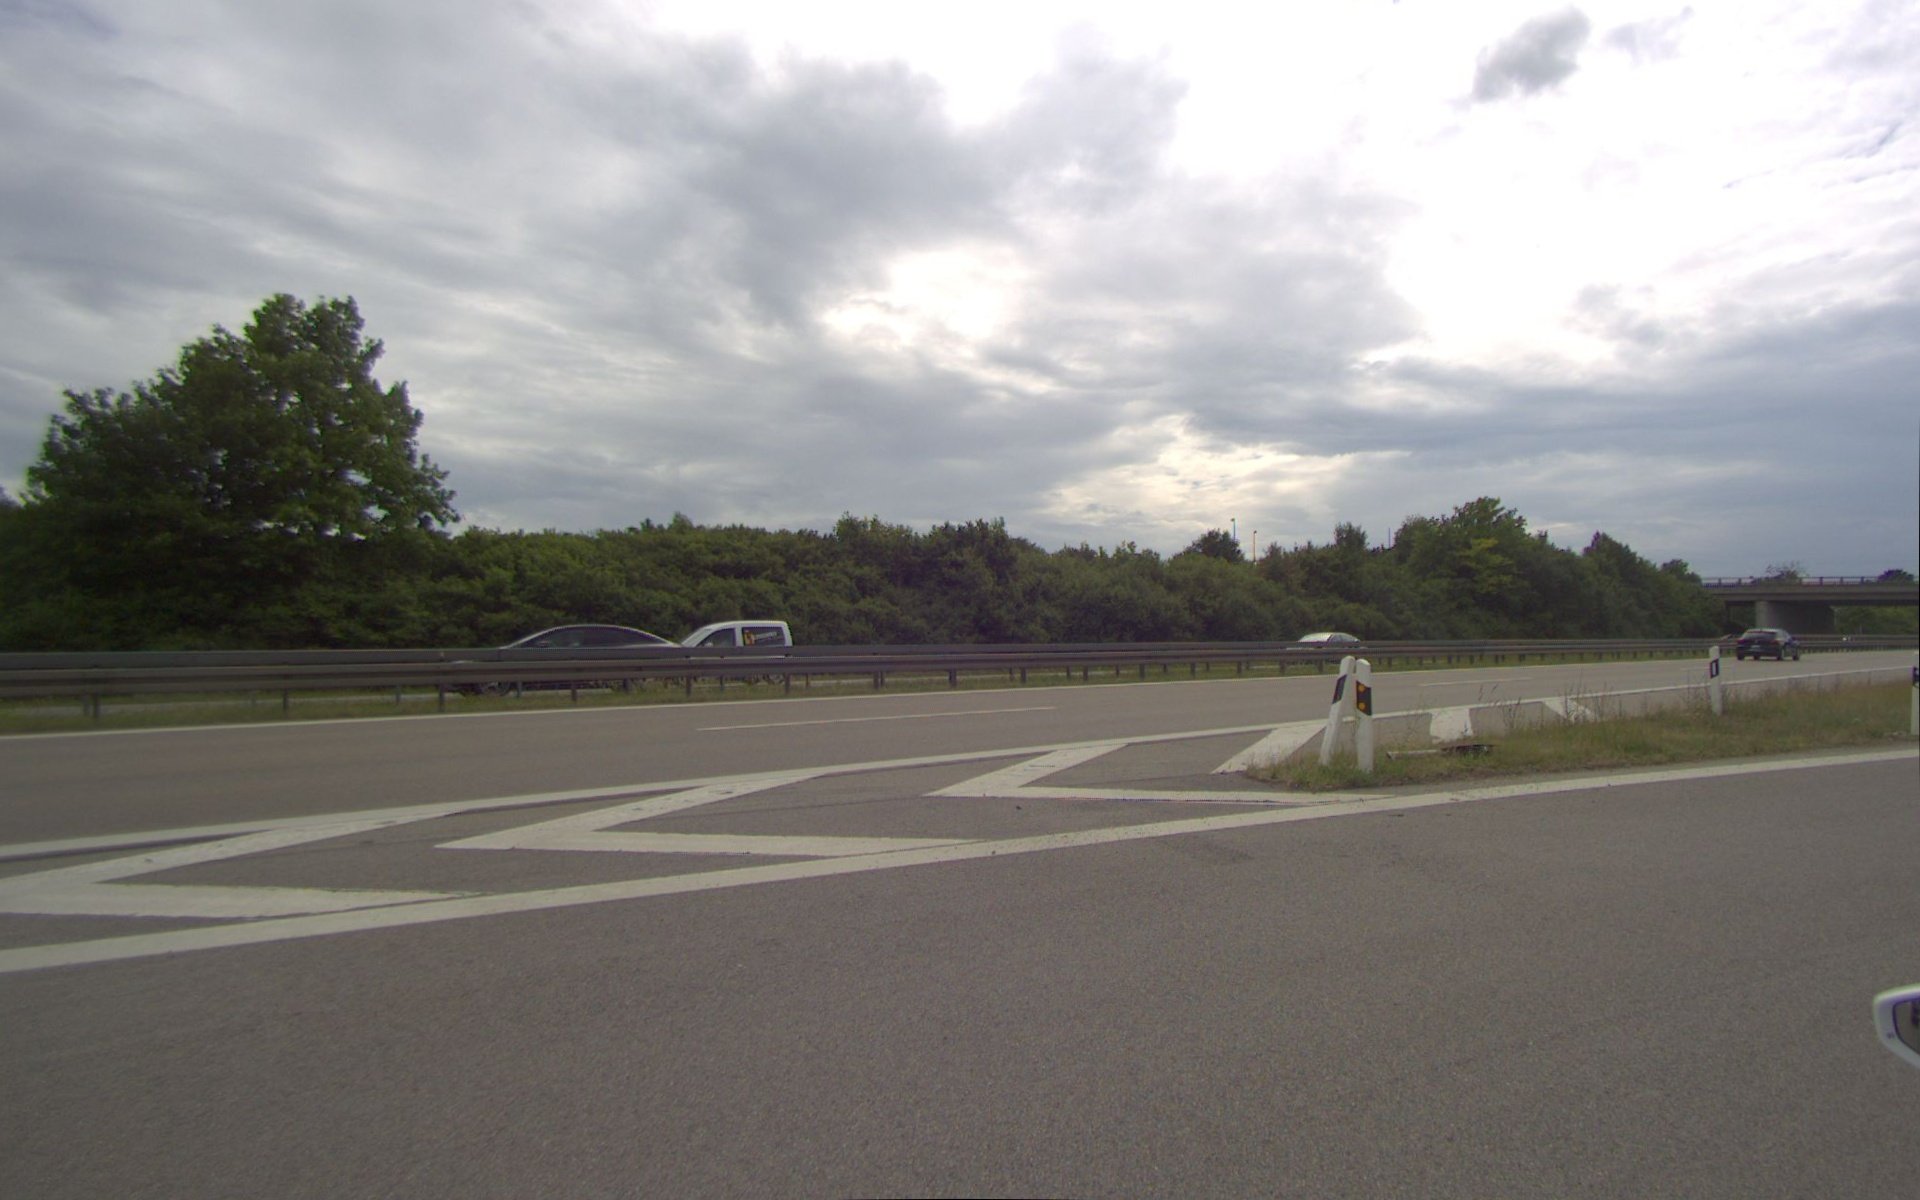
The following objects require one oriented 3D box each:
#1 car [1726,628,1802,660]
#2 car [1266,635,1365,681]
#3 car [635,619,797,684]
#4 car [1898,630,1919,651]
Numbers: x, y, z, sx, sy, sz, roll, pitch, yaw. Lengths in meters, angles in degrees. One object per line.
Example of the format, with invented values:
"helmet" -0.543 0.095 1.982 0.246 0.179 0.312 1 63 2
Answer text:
"car" 37.686 2.058 47.078 4.265 1.417 1.767 1 -2 -37
"car" 14.124 2.243 39.831 3.968 1.706 1.977 2 -2 -40
"car" -6.765 1.399 28.027 3.965 1.673 1.978 1 -2 -38
"car" 68.315 2.876 71.466 4.269 1.417 1.766 2 -2 -39
